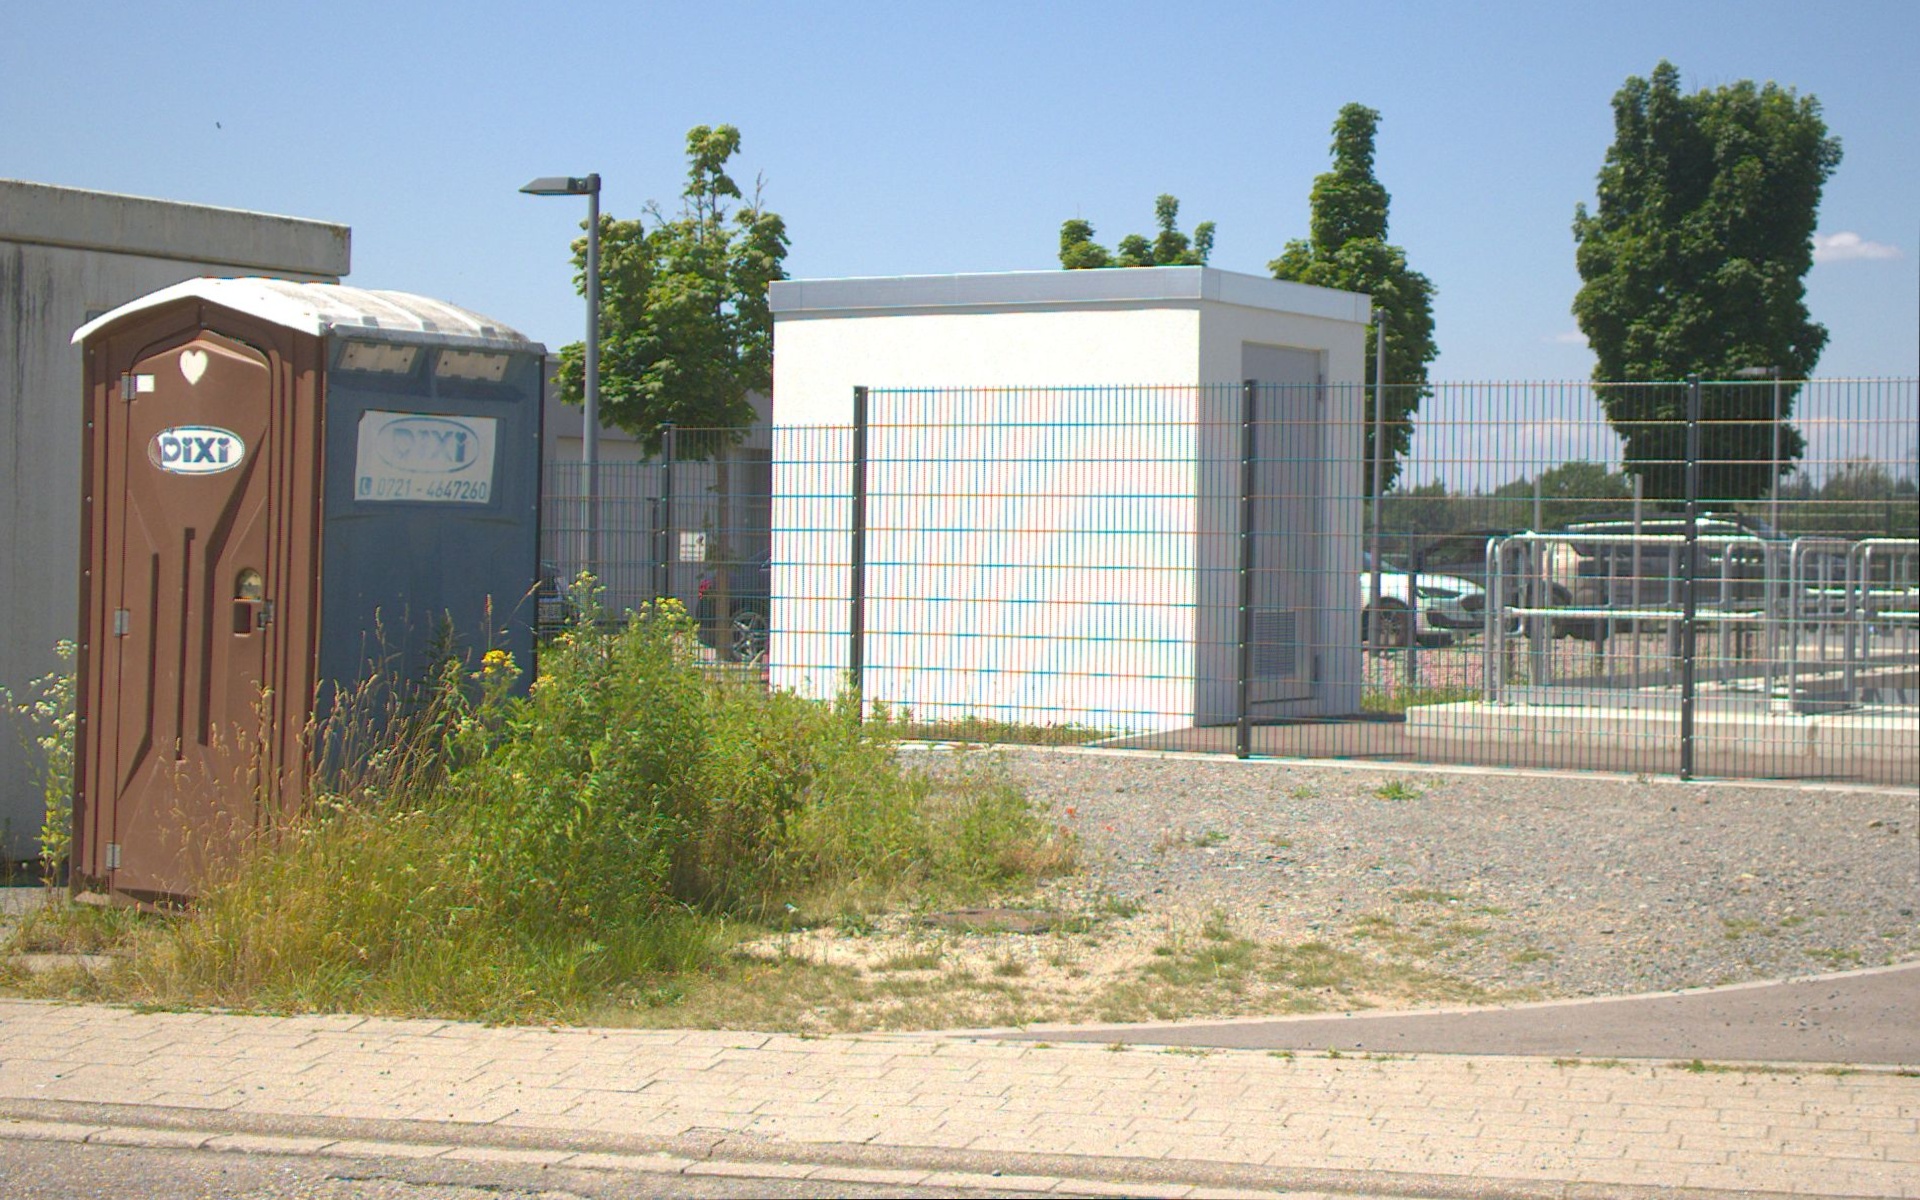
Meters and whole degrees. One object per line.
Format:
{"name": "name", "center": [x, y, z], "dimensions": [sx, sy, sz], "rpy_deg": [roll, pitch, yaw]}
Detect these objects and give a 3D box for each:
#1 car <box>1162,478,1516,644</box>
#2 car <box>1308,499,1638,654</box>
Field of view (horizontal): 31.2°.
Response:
{"name": "car", "center": [4.833, -0.523, 43.963], "dimensions": [3.994, 2.007, 1.996], "rpy_deg": [2, 1, 32]}
{"name": "car", "center": [7.049, -0.345, 47.321], "dimensions": [3.994, 2.007, 1.996], "rpy_deg": [2, 1, 32]}
